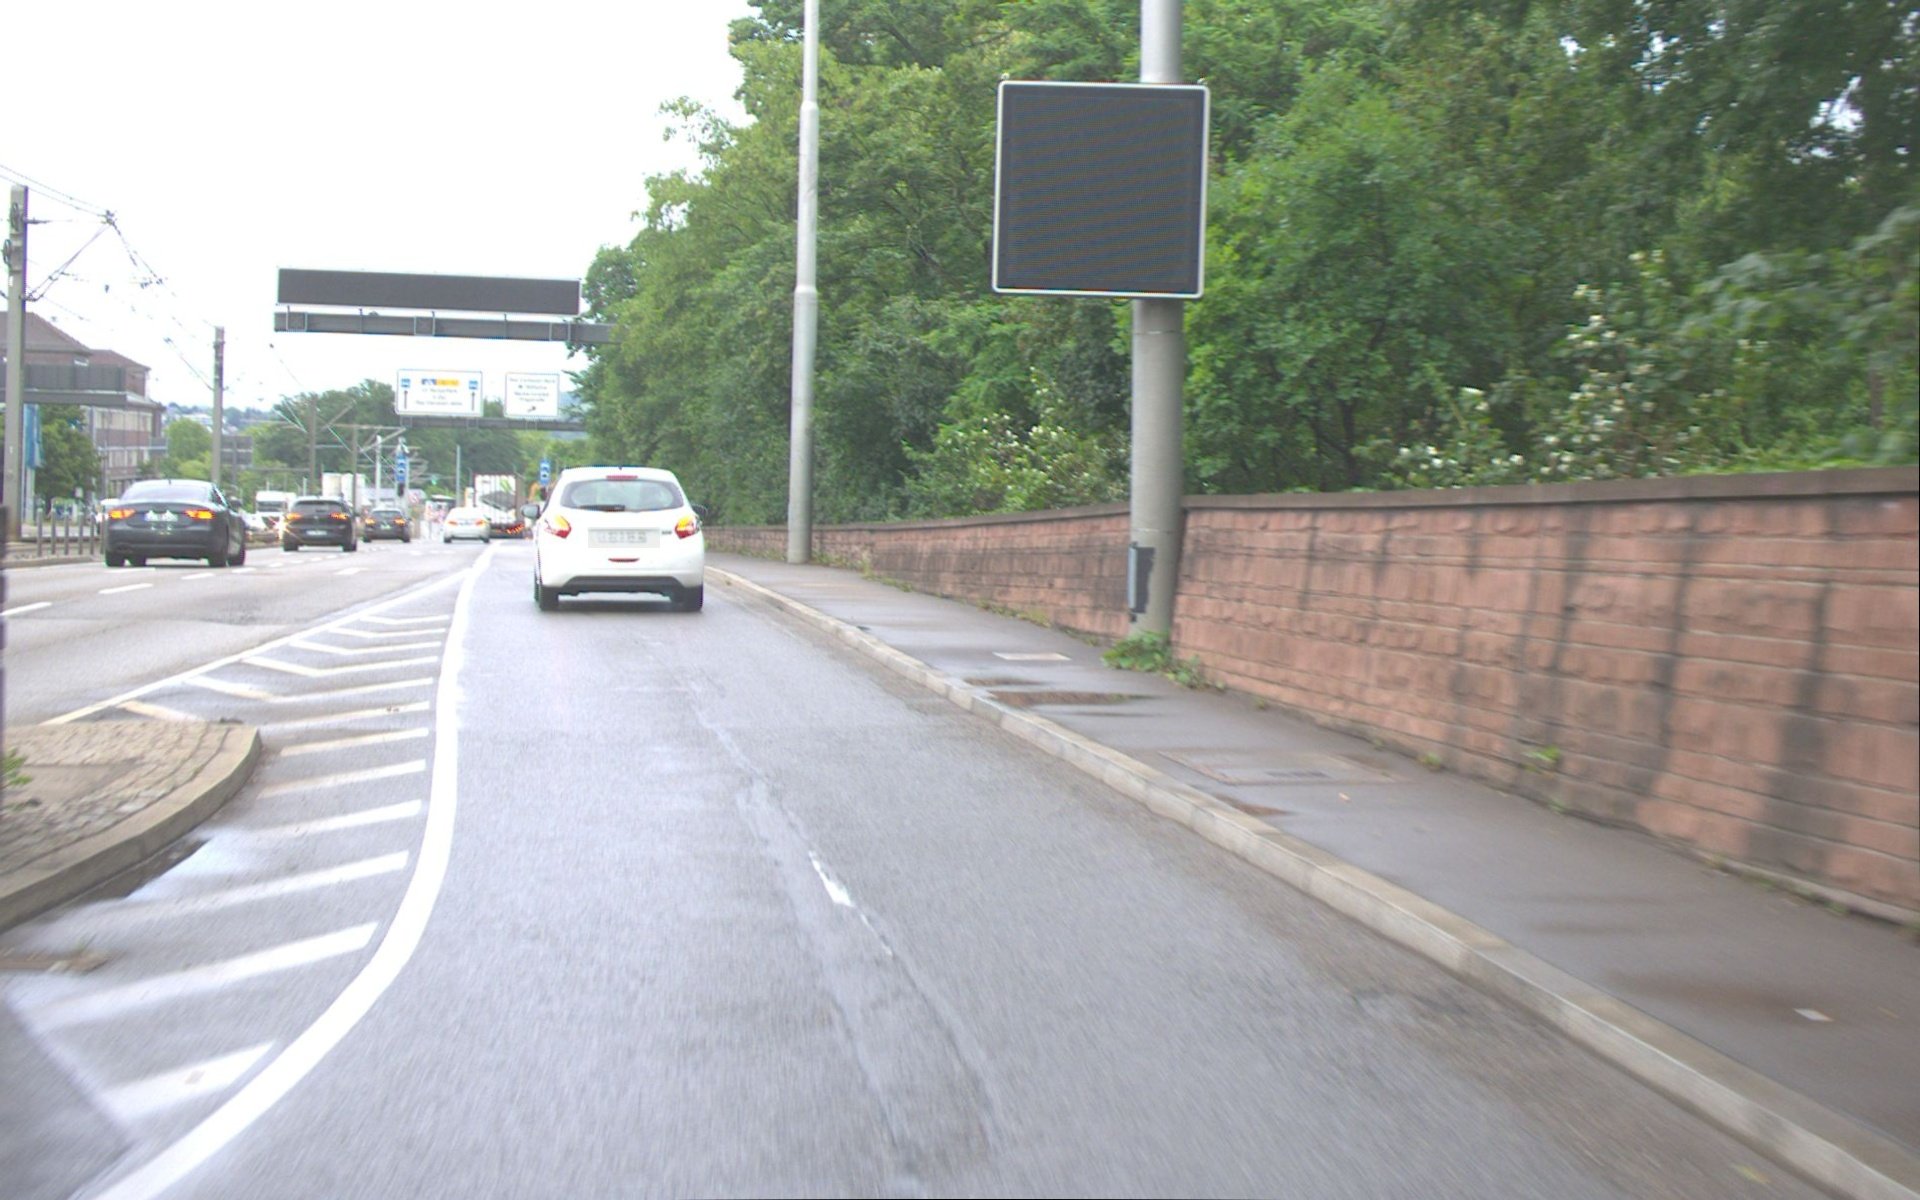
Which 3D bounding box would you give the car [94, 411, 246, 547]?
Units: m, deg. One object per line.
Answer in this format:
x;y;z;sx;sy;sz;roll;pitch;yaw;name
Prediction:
-12.247;-1.911;53.452;1.721;1.884;3.536;2;5;-4;car

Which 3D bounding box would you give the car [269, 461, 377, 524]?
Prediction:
-16.612;-2.786;89.834;1.993;1.570;4.000;1;1;1;car

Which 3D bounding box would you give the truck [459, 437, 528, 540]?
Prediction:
-28.292;-6.685;209.089;3.464;5.383;12.052;3;-2;-6;truck

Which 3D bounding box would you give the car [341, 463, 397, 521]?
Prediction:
-23.887;-4.365;139.043;1.993;2.007;4.000;3;-2;-8;car

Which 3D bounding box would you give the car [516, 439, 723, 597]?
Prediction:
-3.655;-0.852;36.347;1.955;1.483;4.001;3;1;-8;car

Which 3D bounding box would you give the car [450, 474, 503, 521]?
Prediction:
-20.067;-4.247;142.877;2.081;1.866;4.097;1;1;-7;car
